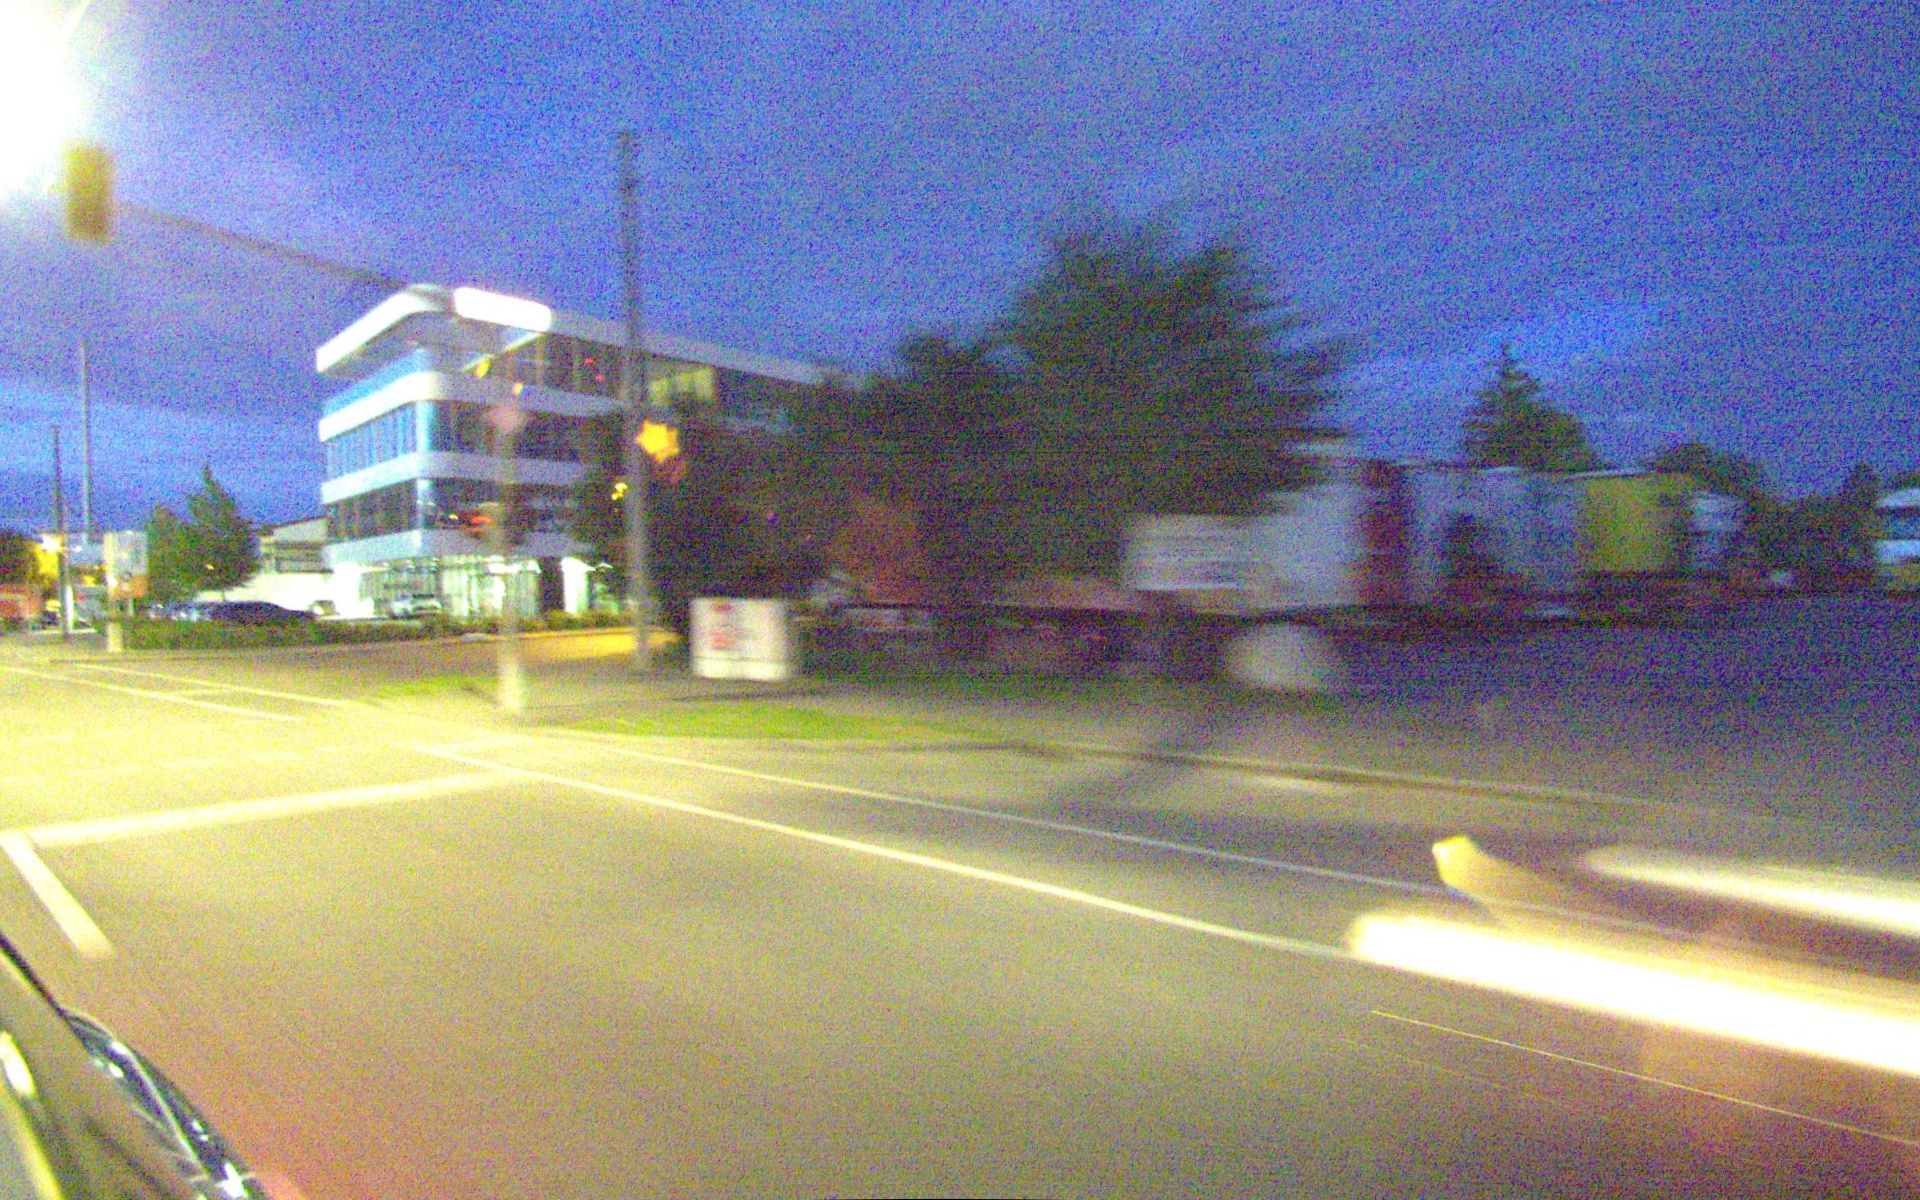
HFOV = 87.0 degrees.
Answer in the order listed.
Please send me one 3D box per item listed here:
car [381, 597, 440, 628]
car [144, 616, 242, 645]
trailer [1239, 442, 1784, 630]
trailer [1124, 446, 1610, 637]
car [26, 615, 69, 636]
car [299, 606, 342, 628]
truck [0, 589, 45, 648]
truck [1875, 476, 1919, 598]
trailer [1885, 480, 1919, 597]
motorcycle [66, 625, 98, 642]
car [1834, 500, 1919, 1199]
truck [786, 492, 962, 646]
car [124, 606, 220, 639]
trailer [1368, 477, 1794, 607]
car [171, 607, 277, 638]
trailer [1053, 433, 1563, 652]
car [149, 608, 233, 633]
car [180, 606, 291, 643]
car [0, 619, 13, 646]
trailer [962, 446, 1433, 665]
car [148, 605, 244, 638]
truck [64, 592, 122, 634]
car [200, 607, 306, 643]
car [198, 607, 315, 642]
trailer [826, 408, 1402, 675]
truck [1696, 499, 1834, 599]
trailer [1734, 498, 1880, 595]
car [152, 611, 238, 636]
[{"bbox_3d":[-32.465,0.749,59.762,1.971,1.654,4.206,-3,1,-44],"label":"car"},{"bbox_3d":[-43.459,1.702,57.386,1.829,1.404,4.218,-1,1,45],"label":"car"},{"bbox_3d":[15.255,-1.558,30.786,3.016,4.389,15.048,-3,2,-31],"label":"trailer"},{"bbox_3d":[10.882,-1.424,30.559,3.015,4.389,15.050,-3,2,-28],"label":"trailer"},{"bbox_3d":[-79.591,2.198,88.349,1.917,1.730,5.213,-1,0,-32],"label":"car"},{"bbox_3d":[-47.962,1.251,75.908,1.880,1.468,4.469,-4,2,-43],"label":"car"},{"bbox_3d":[-71.118,1.355,75.768,2.735,4.151,9.364,-1,0,-35],"label":"truck"},{"bbox_3d":[36.427,-2.313,37.437,6.404,4.266,2.977,-2,1,-40],"label":"truck"},{"bbox_3d":[39.848,-2.432,40.381,11.030,4.266,2.976,-2,1,-41],"label":"trailer"},{"bbox_3d":[-65.168,2.459,75.105,0.528,1.109,1.680,-1,4,23],"label":"motorcycle"},{"bbox_3d":[2.908,0.647,1.077,2.955,1.588,1.679,-1,-2,41],"label":"car"},{"bbox_3d":[-2.528,-0.868,28.724,3.017,3.961,4.515,-3,2,-34],"label":"truck"},{"bbox_3d":[-47.079,1.312,60.510,1.963,1.829,4.354,-1,0,45],"label":"car"},{"bbox_3d":[24.187,-2.019,41.340,3.016,4.389,15.047,-3,2,-31],"label":"trailer"},{"bbox_3d":[-39.392,1.175,54.210,1.852,1.490,4.354,-1,1,45],"label":"car"},{"bbox_3d":[8.048,-1.242,27.697,3.015,4.389,15.051,-3,2,-28],"label":"trailer"},{"bbox_3d":[-52.632,1.355,69.287,1.893,1.493,4.354,-1,1,45],"label":"car"},{"bbox_3d":[-37.491,1.225,52.448,1.963,1.693,4.356,-1,1,43],"label":"car"},{"bbox_3d":[-58.908,1.976,61.342,1.843,1.605,4.502,-2,1,-39],"label":"car"},{"bbox_3d":[4.867,-0.944,26.735,3.015,4.179,15.052,-3,2,-27],"label":"trailer"},{"bbox_3d":[-47.789,1.301,63.361,1.963,1.829,4.555,-1,1,45],"label":"car"},{"bbox_3d":[-89.189,1.284,104.264,2.708,4.064,9.589,-2,1,-30],"label":"truck"},{"bbox_3d":[-35.532,1.216,50.912,1.842,1.591,4.085,-1,1,45],"label":"car"},{"bbox_3d":[-33.863,1.159,48.769,4.395,1.463,2.064,-2,1,-42],"label":"car"},{"bbox_3d":[1.837,-0.913,22.152,3.017,3.961,15.043,-3,2,-33],"label":"trailer"},{"bbox_3d":[33.808,-2.088,42.460,5.754,3.870,3.177,-2,1,-37],"label":"truck"},{"bbox_3d":[38.939,-2.385,46.371,9.111,4.041,3.102,-2,1,-37],"label":"trailer"},{"bbox_3d":[-51.060,1.524,67.588,1.829,1.463,4.354,-1,1,45],"label":"car"}]
